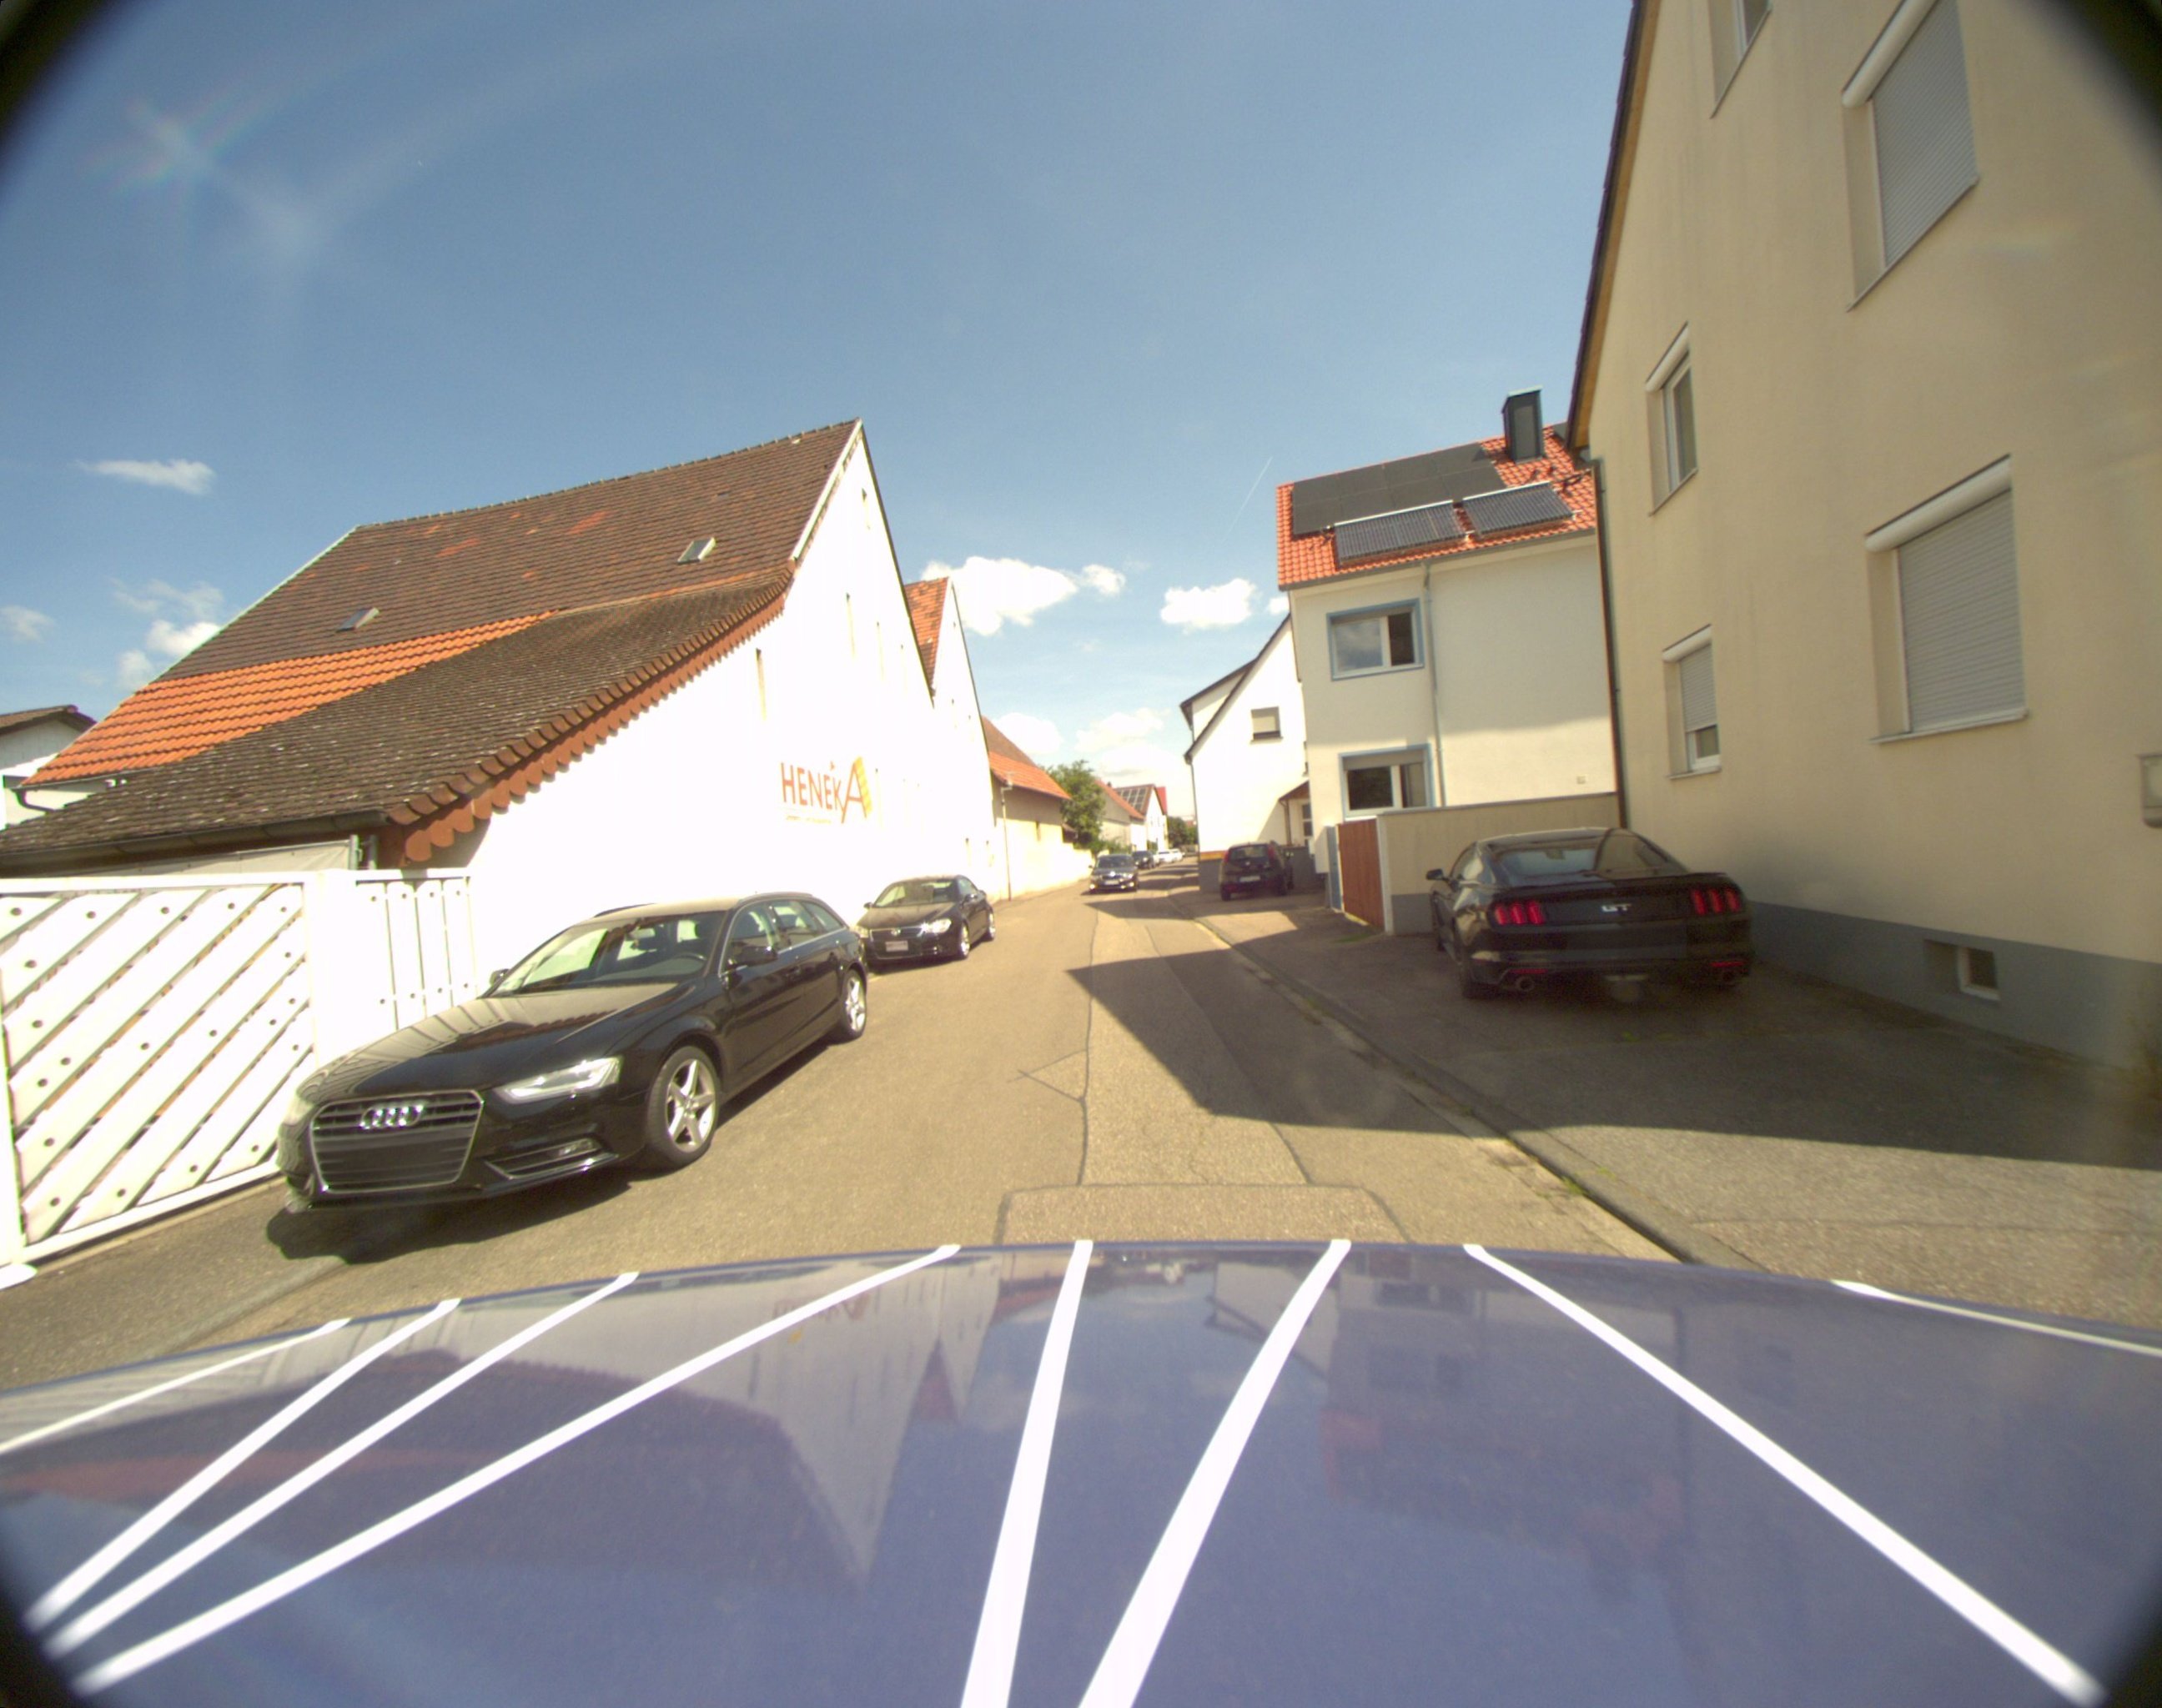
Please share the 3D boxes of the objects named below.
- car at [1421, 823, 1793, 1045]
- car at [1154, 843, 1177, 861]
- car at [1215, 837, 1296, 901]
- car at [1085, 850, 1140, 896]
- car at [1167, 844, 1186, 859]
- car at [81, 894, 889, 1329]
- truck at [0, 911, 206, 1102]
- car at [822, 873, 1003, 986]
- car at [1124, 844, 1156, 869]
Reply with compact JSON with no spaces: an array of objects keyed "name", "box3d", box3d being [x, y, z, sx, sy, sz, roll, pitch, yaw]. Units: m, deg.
[{"name":"car","box3d":[4.389,0.502,7.186,1.772,1.341,4.474,-6,1,21]},{"name":"car","box3d":[8.964,-0.235,80.365,1.783,1.492,4.042,-7,0,12]},{"name":"car","box3d":[4.890,0.355,20.950,1.640,1.446,3.791,-6,0,19]},{"name":"car","box3d":[1.298,0.675,29.121,1.784,1.526,4.712,-2,0,5]},{"name":"car","box3d":[11.602,-0.358,92.467,1.783,1.492,4.042,-7,0,12]},{"name":"car","box3d":[-3.057,1.195,5.497,1.900,1.357,4.737,-5,0,2]},{"name":"truck","box3d":[-13.432,1.921,8.862,1.995,2.002,4.007,-5,0,38]},{"name":"car","box3d":[-2.736,1.184,13.500,1.900,1.357,4.414,-5,1,3]},{"name":"car","box3d":[4.679,0.178,60.129,1.783,1.600,4.003,-7,0,12]}]
